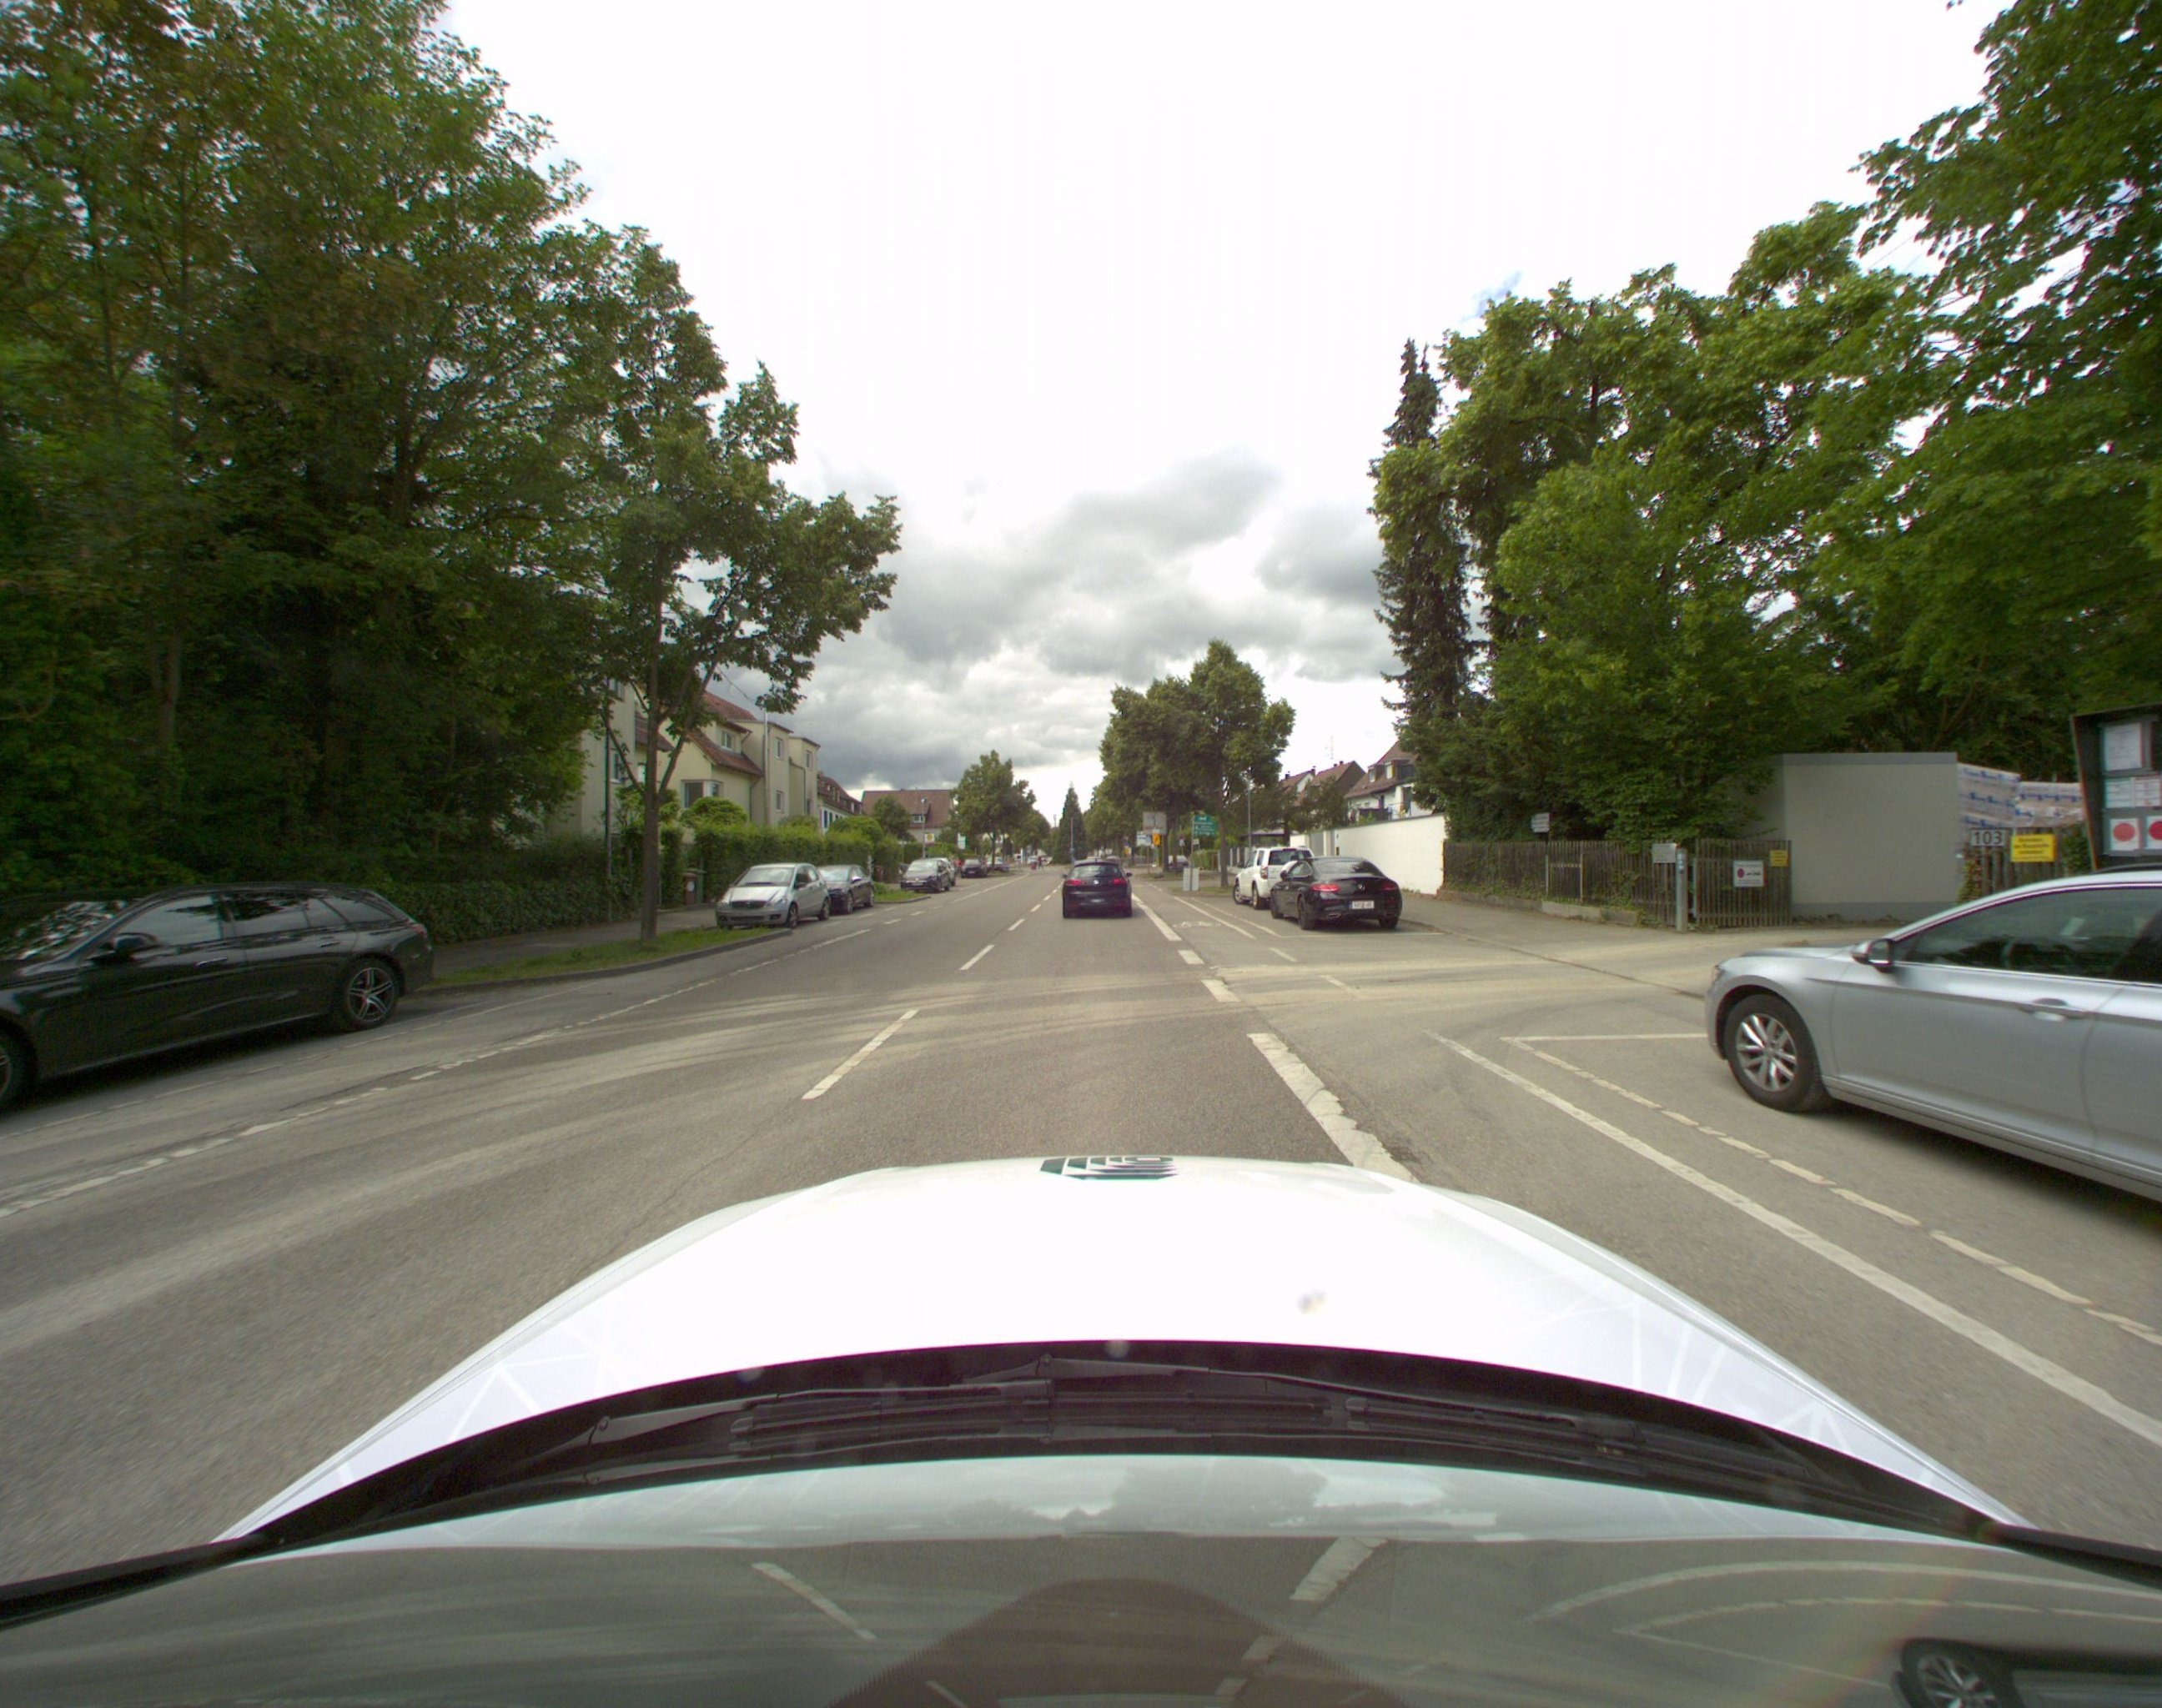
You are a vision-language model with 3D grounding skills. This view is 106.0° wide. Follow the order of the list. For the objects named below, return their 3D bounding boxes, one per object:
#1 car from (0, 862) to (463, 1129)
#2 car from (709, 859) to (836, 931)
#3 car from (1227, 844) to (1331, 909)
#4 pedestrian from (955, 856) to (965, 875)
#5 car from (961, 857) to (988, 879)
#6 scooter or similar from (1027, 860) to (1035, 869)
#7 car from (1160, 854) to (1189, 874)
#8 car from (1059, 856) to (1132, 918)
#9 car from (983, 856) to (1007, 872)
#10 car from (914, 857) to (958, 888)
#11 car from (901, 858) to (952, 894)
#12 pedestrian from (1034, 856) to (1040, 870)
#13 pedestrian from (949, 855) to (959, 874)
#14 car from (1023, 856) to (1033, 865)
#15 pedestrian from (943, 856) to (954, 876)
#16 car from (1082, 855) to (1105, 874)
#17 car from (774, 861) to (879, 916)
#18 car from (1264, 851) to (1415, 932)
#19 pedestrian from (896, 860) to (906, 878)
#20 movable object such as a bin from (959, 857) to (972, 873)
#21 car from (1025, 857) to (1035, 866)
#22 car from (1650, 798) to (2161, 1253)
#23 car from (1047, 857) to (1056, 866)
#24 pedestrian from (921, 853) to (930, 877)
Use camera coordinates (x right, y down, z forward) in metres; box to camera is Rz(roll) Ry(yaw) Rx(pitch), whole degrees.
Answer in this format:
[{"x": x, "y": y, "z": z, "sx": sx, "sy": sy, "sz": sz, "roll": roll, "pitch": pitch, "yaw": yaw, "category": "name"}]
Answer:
[{"x": -7.954, "y": 0.958, "z": 6.587, "sx": 2.089, "sy": 1.647, "sz": 5.035, "roll": -2, "pitch": 0, "yaw": -1, "category": "car"}, {"x": -7.752, "y": 0.970, "z": 20.850, "sx": 1.713, "sy": 1.613, "sz": 3.909, "roll": -2, "pitch": 0, "yaw": 0, "category": "car"}, {"x": 5.451, "y": 0.595, "z": 22.955, "sx": 1.894, "sy": 1.642, "sz": 4.116, "roll": -1, "pitch": -1, "yaw": 0, "category": "car"}, {"x": -10.477, "y": 1.003, "z": 70.398, "sx": 0.786, "sy": 1.663, "sz": 0.752, "roll": -1, "pitch": 0, "yaw": -7, "category": "pedestrian"}, {"x": -8.821, "y": 1.117, "z": 67.568, "sx": 1.719, "sy": 1.725, "sz": 4.562, "roll": -1, "pitch": 0, "yaw": -2, "category": "car"}, {"x": -6.064, "y": 1.297, "z": 98.726, "sx": 0.969, "sy": 1.095, "sz": 0.404, "roll": 1, "pitch": -1, "yaw": -19, "category": "scooter or similar"}, {"x": 6.825, "y": 0.771, "z": 59.842, "sx": 1.606, "sy": 1.377, "sz": 4.386, "roll": -1, "pitch": -2, "yaw": 1, "category": "car"}, {"x": 0.442, "y": 0.793, "z": 21.505, "sx": 1.725, "sy": 1.486, "sz": 4.003, "roll": 0, "pitch": 0, "yaw": 3, "category": "car"}, {"x": -8.831, "y": 1.022, "z": 83.853, "sx": 1.854, "sy": 1.653, "sz": 4.294, "roll": -1, "pitch": 0, "yaw": 1, "category": "car"}, {"x": -8.152, "y": 1.009, "z": 46.158, "sx": 1.816, "sy": 1.634, "sz": 4.582, "roll": -2, "pitch": 0, "yaw": -3, "category": "car"}, {"x": -7.316, "y": 1.010, "z": 38.880, "sx": 1.672, "sy": 1.552, "sz": 4.270, "roll": -1, "pitch": 0, "yaw": -1, "category": "car"}, {"x": -5.334, "y": 1.047, "z": 99.000, "sx": 0.515, "sy": 1.669, "sz": 0.480, "roll": -1, "pitch": -1, "yaw": -16, "category": "pedestrian"}, {"x": -11.087, "y": 0.904, "z": 71.324, "sx": 0.786, "sy": 1.663, "sz": 0.590, "roll": -1, "pitch": 0, "yaw": -7, "category": "pedestrian"}, {"x": -11.734, "y": 1.393, "z": 179.601, "sx": 2.025, "sy": 1.970, "sz": 3.996, "roll": -2, "pitch": 0, "yaw": -3, "category": "car"}, {"x": -11.412, "y": 1.018, "z": 70.195, "sx": 0.786, "sy": 1.663, "sz": 0.879, "roll": -1, "pitch": 0, "yaw": -7, "category": "pedestrian"}, {"x": 1.120, "y": 0.873, "z": 71.634, "sx": 1.986, "sy": 1.613, "sz": 4.001, "roll": -1, "pitch": 0, "yaw": 1, "category": "car"}, {"x": -8.024, "y": 1.028, "z": 26.199, "sx": 1.989, "sy": 1.485, "sz": 4.886, "roll": -2, "pitch": 0, "yaw": -2, "category": "car"}, {"x": 5.143, "y": 0.670, "z": 16.886, "sx": 1.856, "sy": 1.417, "sz": 4.606, "roll": -1, "pitch": 0, "yaw": 3, "category": "car"}, {"x": -13.551, "y": 1.143, "z": 61.268, "sx": 0.585, "sy": 1.313, "sz": 0.706, "roll": -1, "pitch": 0, "yaw": 1, "category": "pedestrian"}, {"x": -12.284, "y": 1.167, "z": 86.634, "sx": 1.202, "sy": 1.651, "sz": 0.997, "roll": 1, "pitch": -1, "yaw": -3, "category": "movable object such as a bin"}, {"x": -10.097, "y": 1.458, "z": 161.559, "sx": 1.792, "sy": 1.601, "sz": 3.998, "roll": -2, "pitch": 0, "yaw": -1, "category": "car"}, {"x": 4.770, "y": 0.613, "z": 3.221, "sx": 1.855, "sy": 1.611, "sz": 4.687, "roll": 0, "pitch": -1, "yaw": 1, "category": "car"}, {"x": -5.661, "y": 1.413, "z": 155.042, "sx": 1.563, "sy": 1.634, "sz": 3.621, "roll": -1, "pitch": 0, "yaw": 0, "category": "car"}, {"x": -11.720, "y": 0.852, "z": 61.328, "sx": 0.502, "sy": 1.806, "sz": 0.671, "roll": -1, "pitch": 0, "yaw": 0, "category": "pedestrian"}]
